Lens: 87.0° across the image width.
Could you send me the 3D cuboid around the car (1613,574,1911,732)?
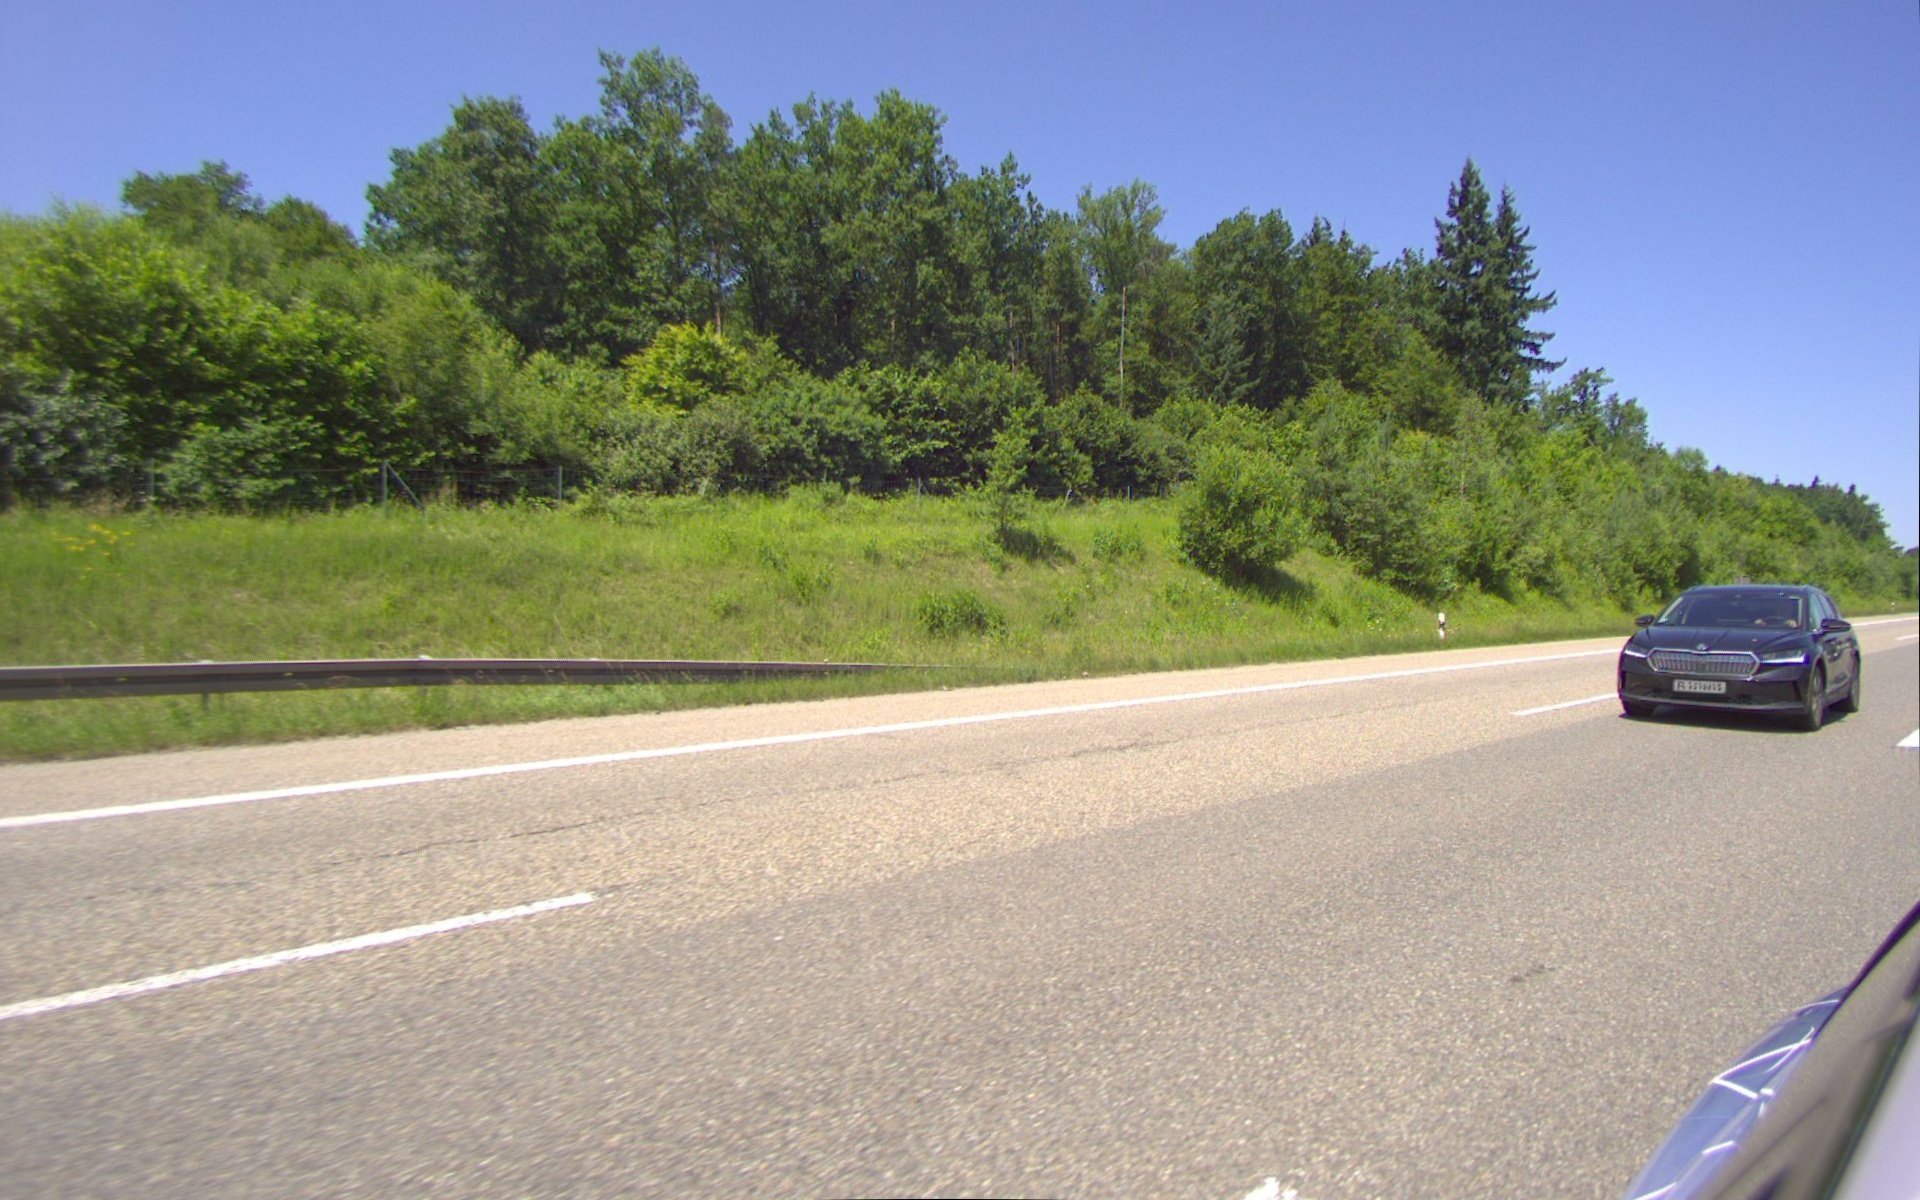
[{"bbox_3d":[10.103,0.517,12.647,4.376,1.639,1.990,-1,1,-39],"label":"car"}]
